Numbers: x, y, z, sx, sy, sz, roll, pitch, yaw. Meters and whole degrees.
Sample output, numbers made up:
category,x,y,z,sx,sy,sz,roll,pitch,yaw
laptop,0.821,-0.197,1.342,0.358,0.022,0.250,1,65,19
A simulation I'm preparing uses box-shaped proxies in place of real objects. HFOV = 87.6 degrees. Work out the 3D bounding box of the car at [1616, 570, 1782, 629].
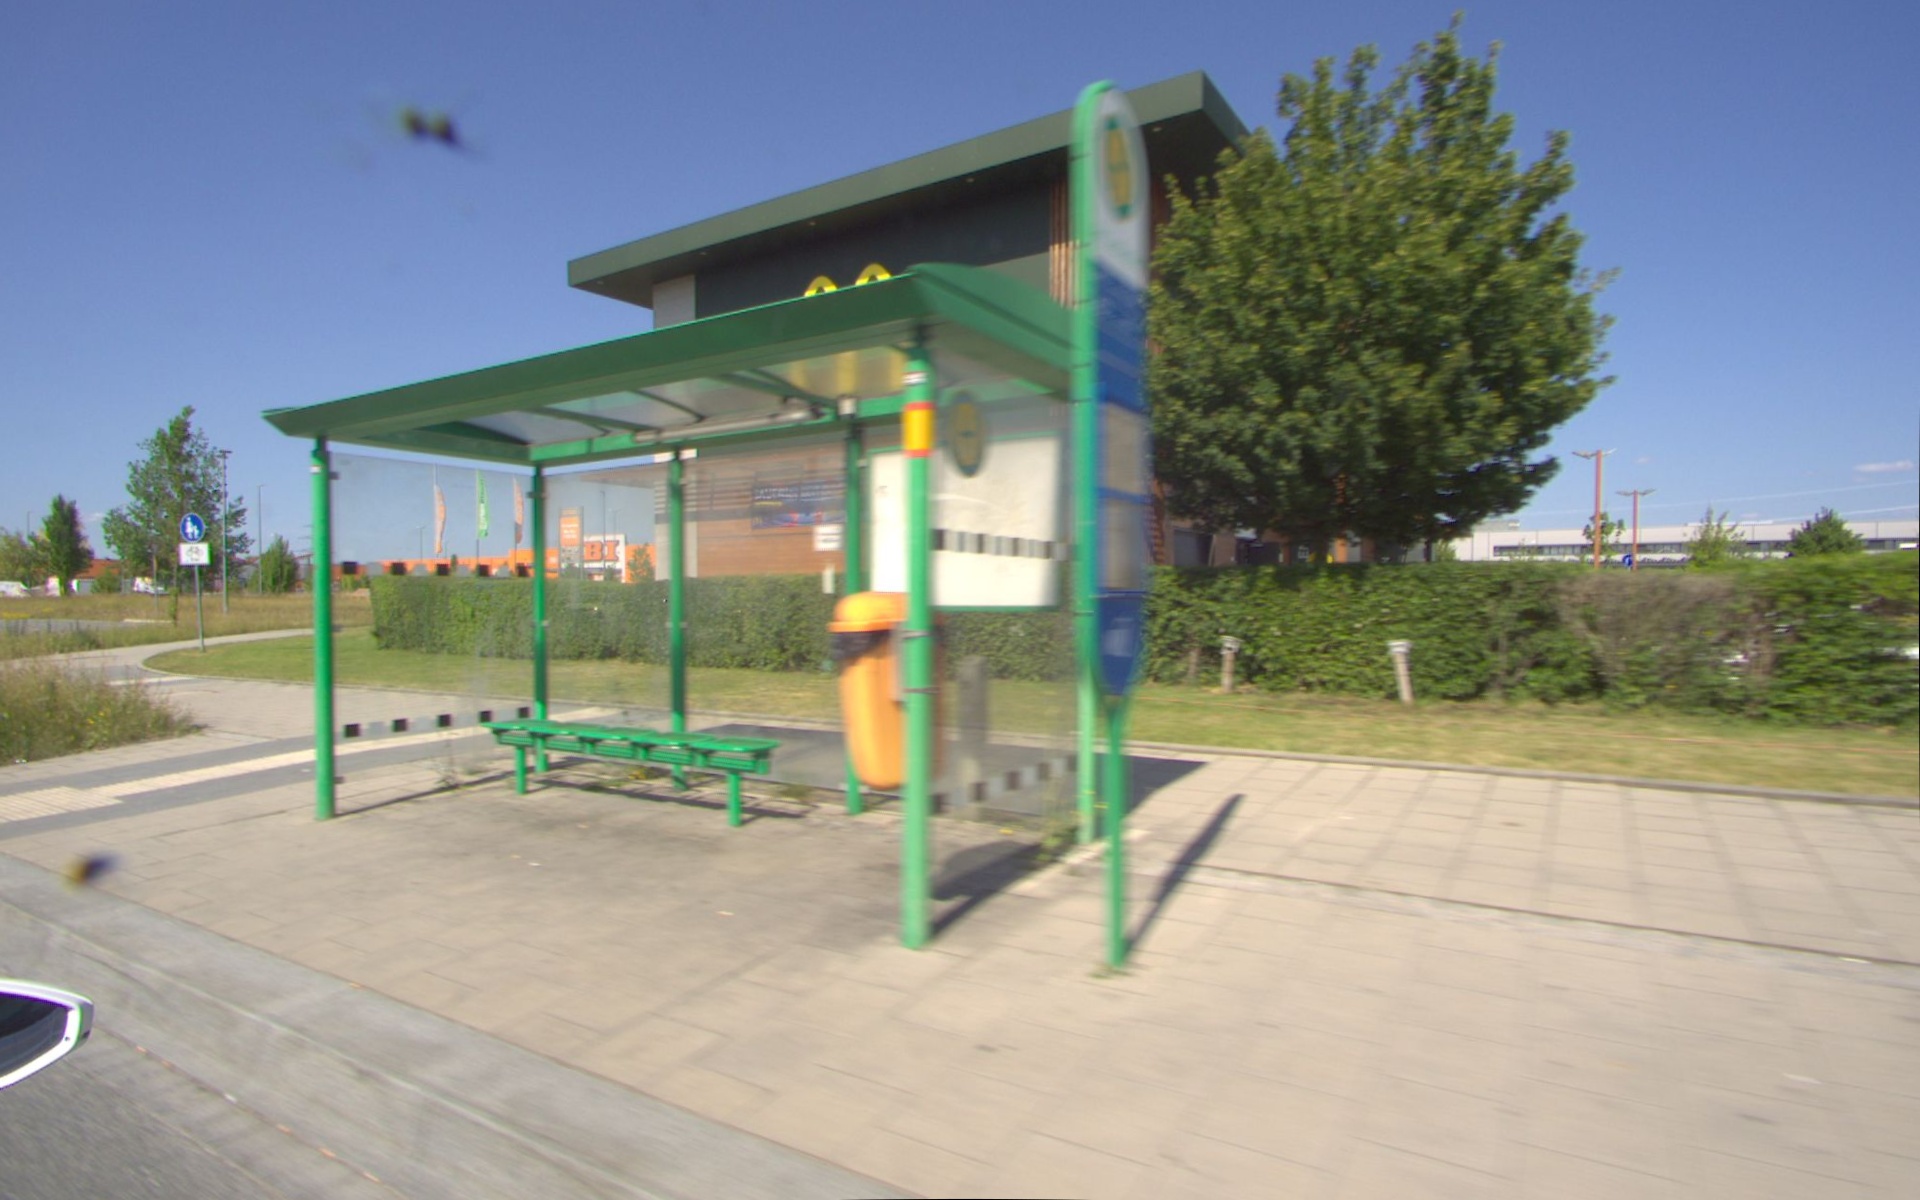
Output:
category,x,y,z,sx,sy,sz,roll,pitch,yaw
car,23.189,-0.011,31.596,1.766,1.724,3.993,-1,0,-15

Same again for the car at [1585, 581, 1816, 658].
category,x,y,z,sx,sy,sz,roll,pitch,yaw
car,17.076,0.406,23.309,1.770,1.625,3.984,-1,0,-26
